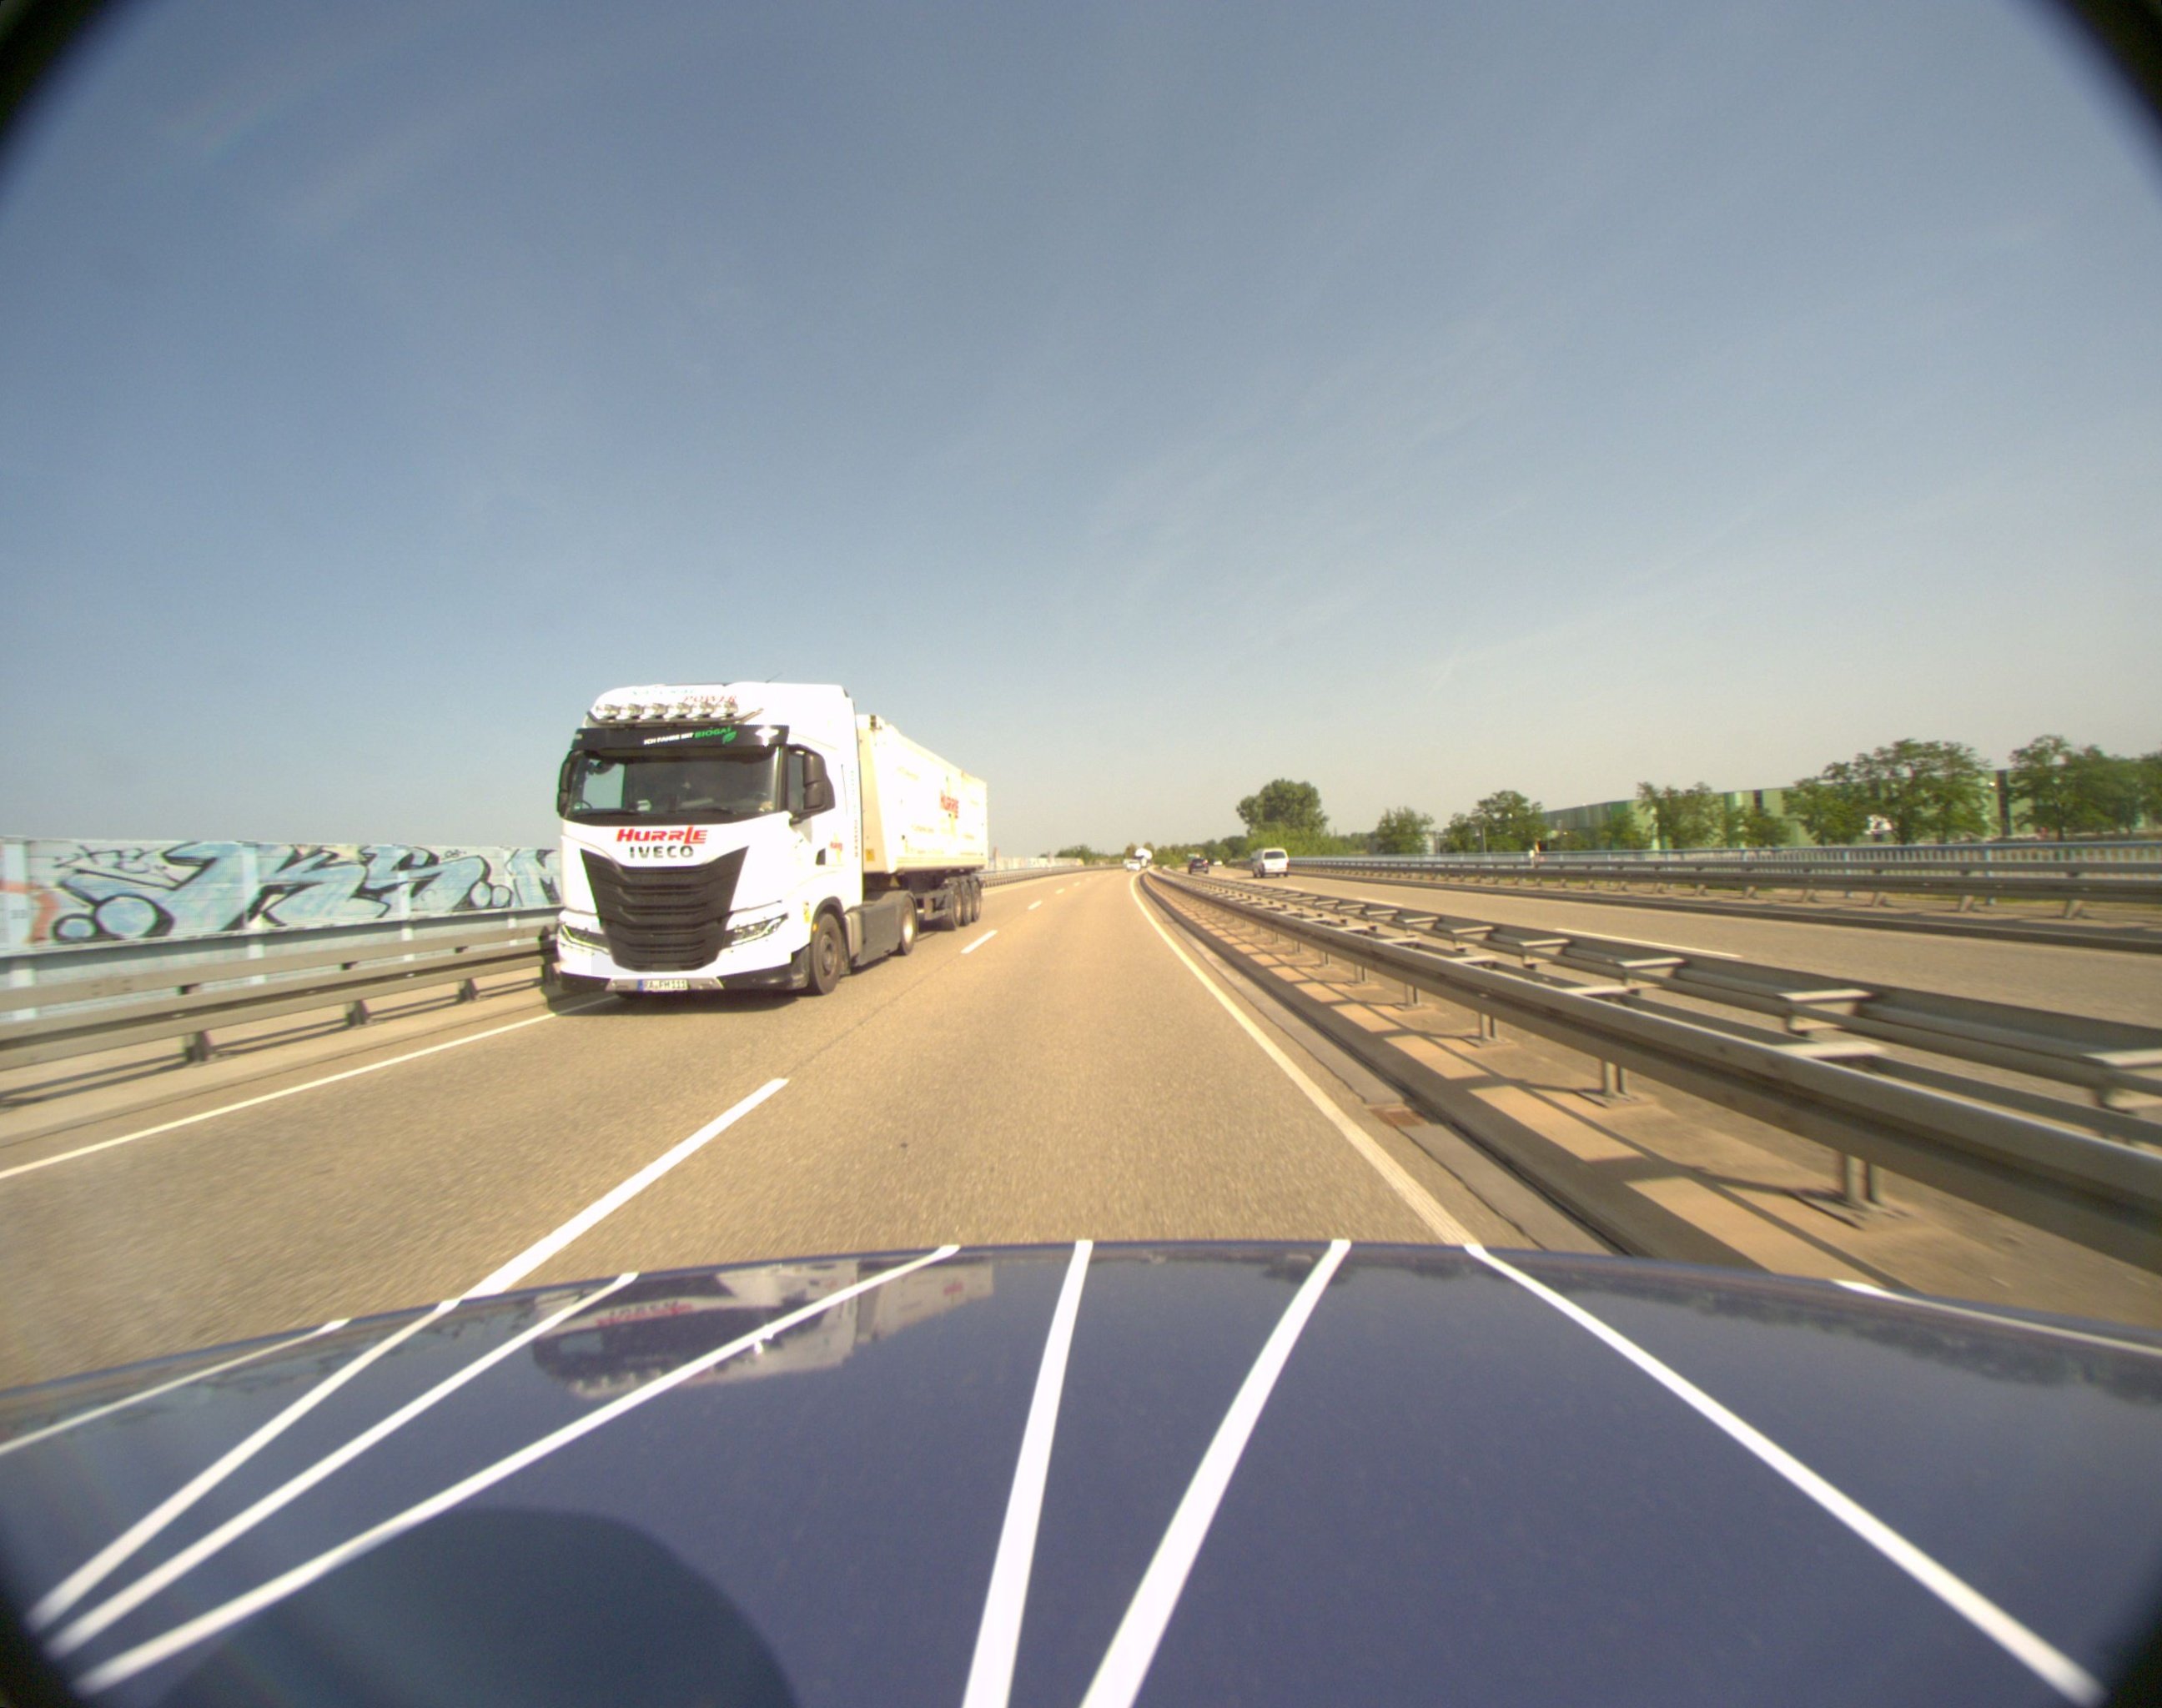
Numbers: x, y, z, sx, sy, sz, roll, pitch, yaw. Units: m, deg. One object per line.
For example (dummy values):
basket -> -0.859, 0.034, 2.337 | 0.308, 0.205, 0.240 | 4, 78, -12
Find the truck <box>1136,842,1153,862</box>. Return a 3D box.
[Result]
truck -> 12.948, -0.388, 154.806 | 2.777, 3.938, 5.631 | -2, 0, 9

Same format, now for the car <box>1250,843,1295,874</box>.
car -> 13.523, 0.274, 53.909 | 2.043, 1.994, 5.309 | -3, 0, 3

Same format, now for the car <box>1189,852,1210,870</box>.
car -> 11.768, 0.664, 75.600 | 1.868, 1.598, 4.420 | -3, 0, 7

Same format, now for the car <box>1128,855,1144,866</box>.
car -> 7.543, 0.863, 103.590 | 1.788, 1.427, 4.003 | -3, 0, 9

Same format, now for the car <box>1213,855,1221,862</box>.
car -> 31.074, 1.000, 173.374 | 1.651, 1.493, 4.003 | -3, -1, 9

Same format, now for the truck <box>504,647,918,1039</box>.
truck -> -4.356, -0.106, 10.520 | 2.665, 3.873, 5.648 | -2, 0, 2

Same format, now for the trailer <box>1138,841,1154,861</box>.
trailer -> 13.777, -0.575, 160.312 | 2.762, 3.968, 8.191 | -2, 0, 9

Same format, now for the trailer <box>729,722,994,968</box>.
trailer -> -4.105, -0.104, 17.098 | 2.686, 3.884, 9.674 | -2, 0, 2
